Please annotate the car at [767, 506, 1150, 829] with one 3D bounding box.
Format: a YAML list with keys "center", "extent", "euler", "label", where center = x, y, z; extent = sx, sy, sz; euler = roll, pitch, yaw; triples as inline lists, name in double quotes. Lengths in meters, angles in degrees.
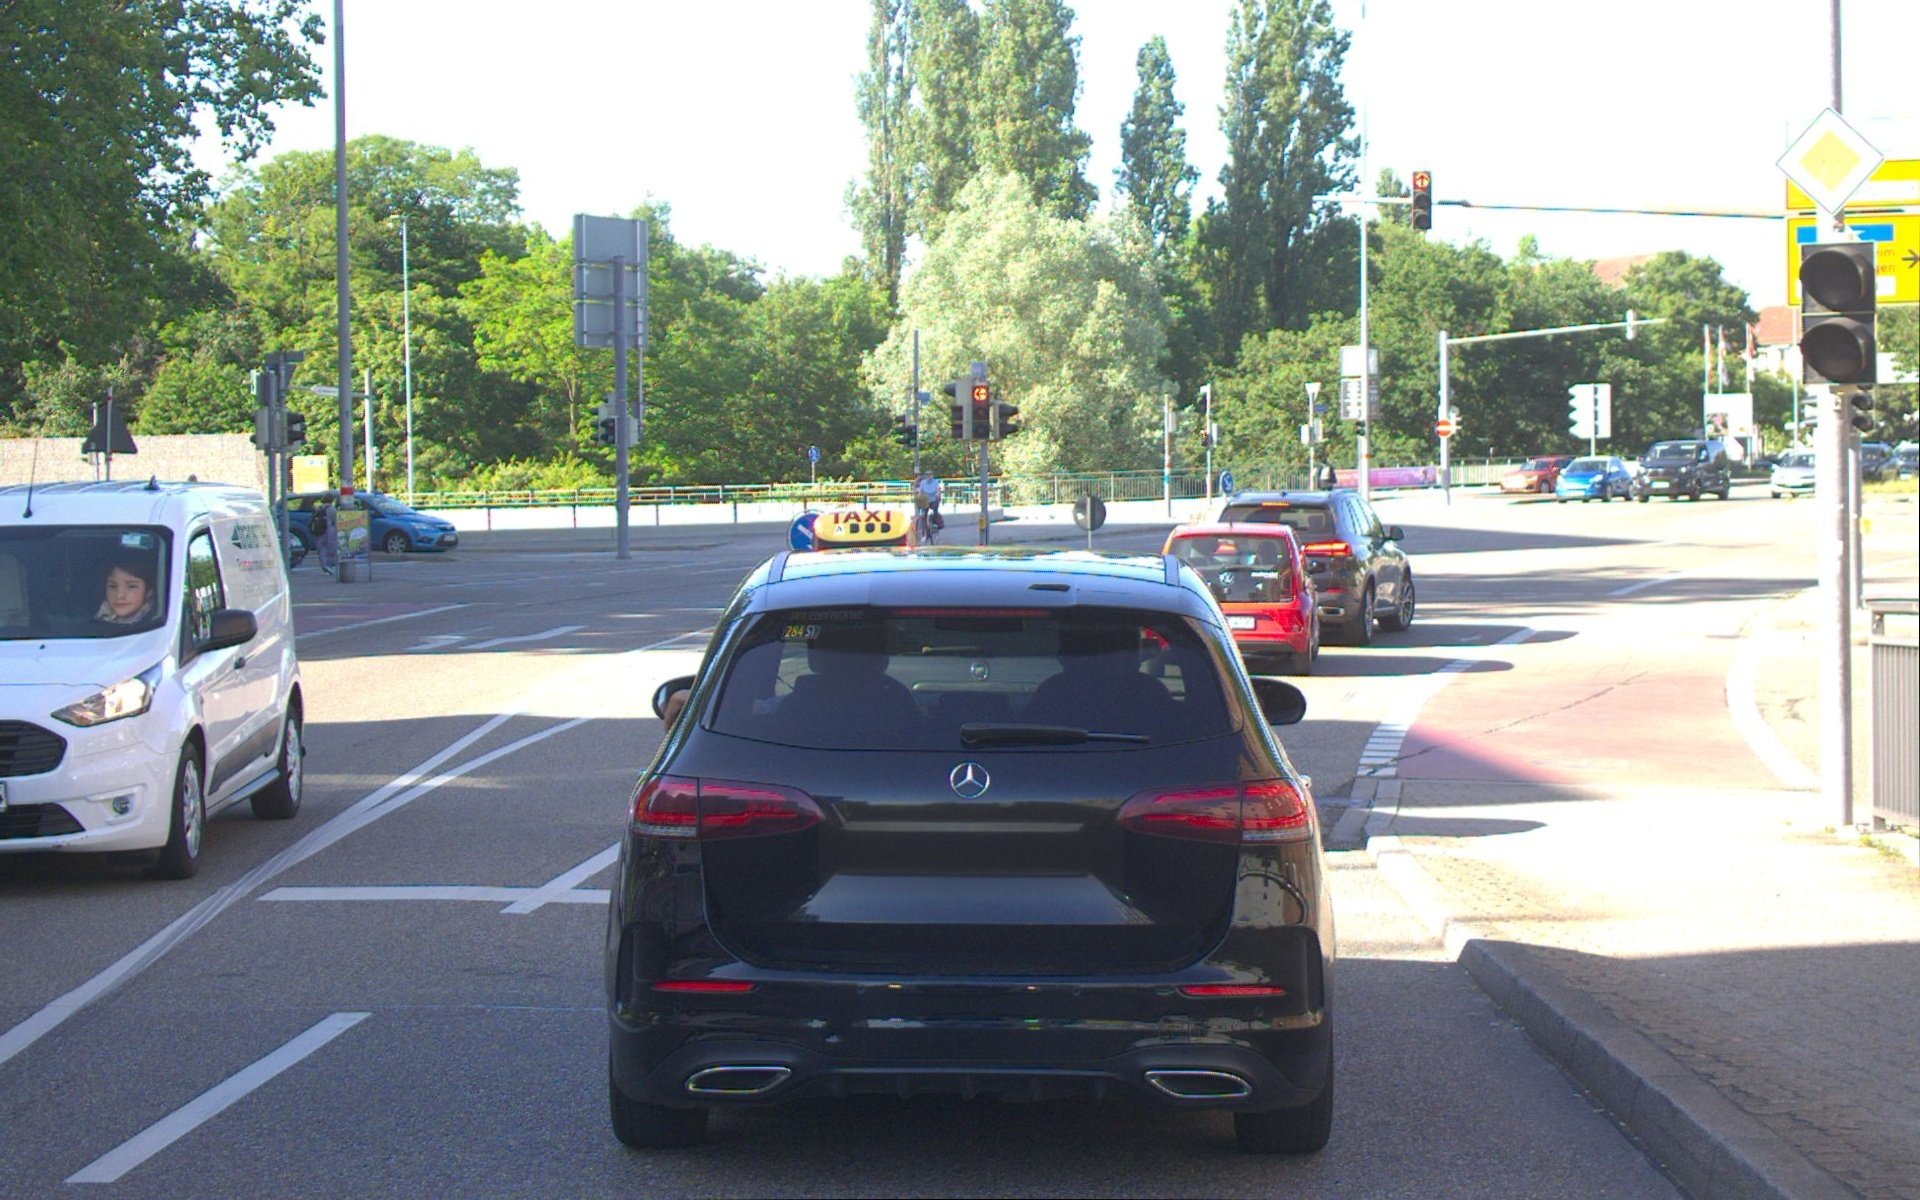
- center: [0.054, 0.274, 18.577]
  extent: [1.820, 1.484, 4.000]
  euler: [-1, 2, 2]
  label: "car"

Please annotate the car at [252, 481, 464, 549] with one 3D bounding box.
- center: [-13.528, -1.911, 77.256]
  extent: [4.442, 1.433, 1.824]
  euler: [0, 2, 26]
  label: "car"

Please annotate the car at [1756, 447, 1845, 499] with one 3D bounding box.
- center: [26.690, -4.050, 109.096]
  extent: [1.823, 1.577, 4.098]
  euler: [0, 3, 27]
  label: "car"

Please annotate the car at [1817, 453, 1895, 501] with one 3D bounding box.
- center: [30.101, -4.146, 115.460]
  extent: [1.726, 1.577, 3.998]
  euler: [1, 3, 27]
  label: "car"

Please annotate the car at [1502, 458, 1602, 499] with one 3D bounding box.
- center: [23.130, -4.758, 134.323]
  extent: [1.998, 1.543, 3.990]
  euler: [2, 3, 43]
  label: "car"

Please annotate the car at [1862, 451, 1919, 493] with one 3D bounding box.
- center: [33.868, -4.573, 123.009]
  extent: [1.997, 1.448, 3.993]
  euler: [1, 1, 31]
  label: "car"

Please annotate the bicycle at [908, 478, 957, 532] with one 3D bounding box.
- center: [-0.639, -2.236, 80.951]
  extent: [0.687, 1.198, 2.326]
  euler: [0, 3, 11]
  label: "bicycle"

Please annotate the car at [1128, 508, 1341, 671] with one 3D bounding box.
- center: [2.861, -0.158, 35.103]
  extent: [1.821, 1.474, 3.999]
  euler: [2, 2, 9]
  label: "car"

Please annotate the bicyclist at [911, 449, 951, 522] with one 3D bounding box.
- center: [-0.681, -2.696, 80.758]
  extent: [0.687, 1.695, 1.197]
  euler: [0, 3, 11]
  label: "bicyclist"

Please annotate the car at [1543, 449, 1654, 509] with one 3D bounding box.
- center: [20.782, -3.944, 111.747]
  extent: [1.997, 1.858, 4.844]
  euler: [1, 3, 30]
  label: "car"

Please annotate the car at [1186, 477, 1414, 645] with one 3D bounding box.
- center: [4.069, -0.518, 40.580]
  extent: [1.870, 1.784, 4.411]
  euler: [2, 3, 16]
  label: "car"

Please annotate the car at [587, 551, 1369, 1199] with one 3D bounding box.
- center: [0.008, 0.620, 9.722]
  extent: [1.751, 1.488, 4.000]
  euler: [0, 0, -1]
  label: "car"

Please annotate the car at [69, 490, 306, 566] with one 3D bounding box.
- center: [-15.168, -1.409, 67.466]
  extent: [4.444, 1.433, 1.823]
  euler: [0, 3, 30]
  label: "car"

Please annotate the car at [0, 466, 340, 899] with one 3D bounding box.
- center: [-4.325, 0.265, 16.873]
  extent: [1.810, 1.795, 5.122]
  euler: [-1, 2, -2]
  label: "car"

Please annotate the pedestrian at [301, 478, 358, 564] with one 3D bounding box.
- center: [-11.870, -1.476, 64.763]
  extent: [0.686, 1.533, 1.366]
  euler: [1, -2, 5]
  label: "pedestrian"

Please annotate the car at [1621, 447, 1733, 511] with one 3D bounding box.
- center: [22.484, -3.812, 107.687]
  extent: [1.997, 1.928, 4.844]
  euler: [1, 3, 31]
  label: "car"
